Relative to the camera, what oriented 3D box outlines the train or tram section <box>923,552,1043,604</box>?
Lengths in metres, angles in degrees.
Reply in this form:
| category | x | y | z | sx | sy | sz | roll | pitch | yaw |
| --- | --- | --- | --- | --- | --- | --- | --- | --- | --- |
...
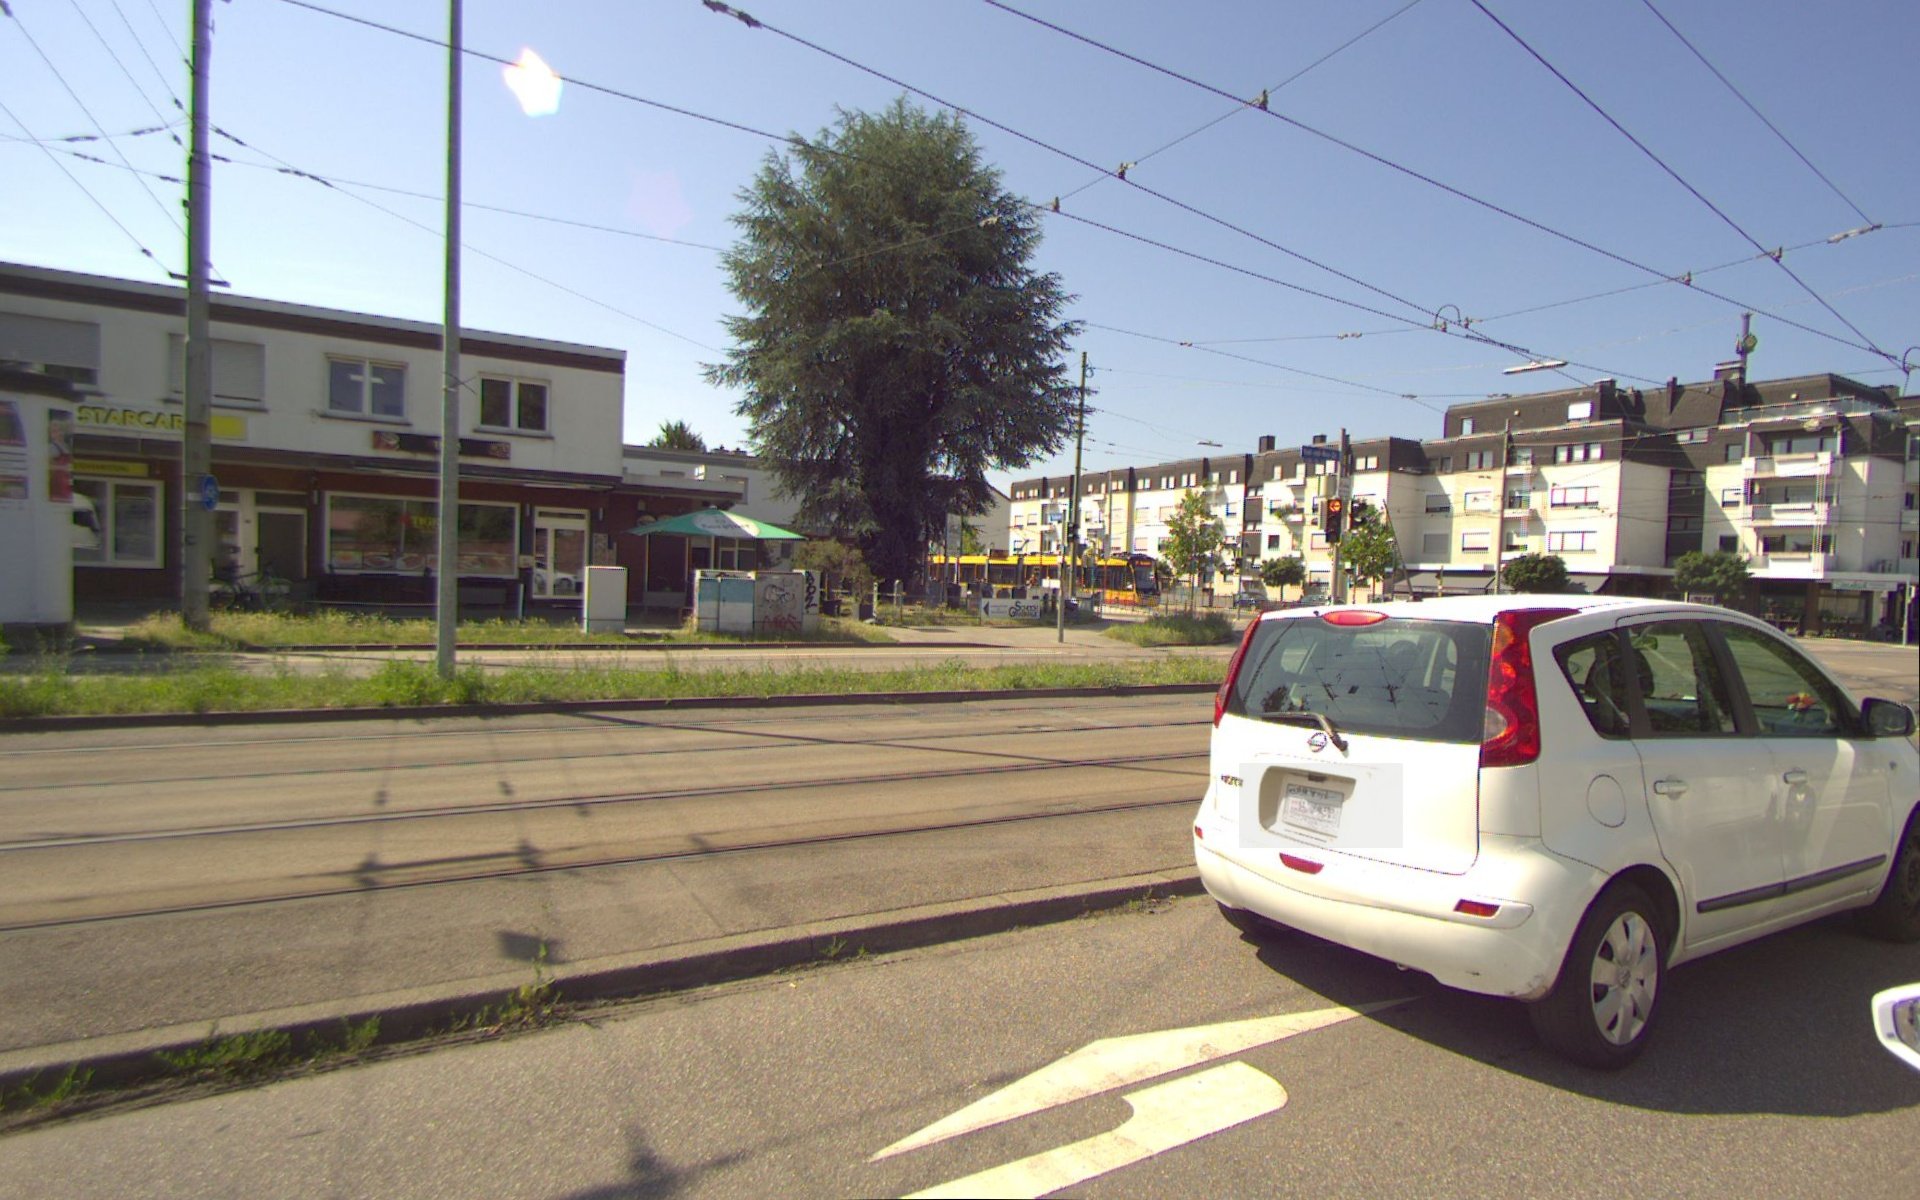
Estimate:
| category | x | y | z | sx | sy | sz | roll | pitch | yaw |
| --- | --- | --- | --- | --- | --- | --- | --- | --- | --- |
| train or tram section | 1.478 | -1.807 | 79.887 | 2.736 | 3.707 | 13.795 | 1 | 1 | -30 |

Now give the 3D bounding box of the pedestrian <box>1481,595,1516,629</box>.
| category | x | y | z | sx | sy | sz | roll | pitch | yaw |
| --- | --- | --- | --- | --- | --- | --- | --- | --- | --- |
| pedestrian | 30.941 | 0.670 | 57.729 | 1.410 | 1.861 | 1.123 | 2 | 1 | 12 |

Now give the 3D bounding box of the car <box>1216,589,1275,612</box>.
| category | x | y | z | sx | sy | sz | roll | pitch | yaw |
| --- | --- | --- | --- | --- | --- | --- | --- | --- | --- |
| car | 20.670 | 0.025 | 72.876 | 1.807 | 1.520 | 3.967 | 1 | 1 | -30 |

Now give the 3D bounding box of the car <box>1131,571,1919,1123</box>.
| category | x | y | z | sx | sy | sz | roll | pitch | yaw |
| --- | --- | --- | --- | --- | --- | --- | --- | --- | --- |
| car | 2.928 | 0.742 | 4.660 | 4.019 | 1.582 | 1.757 | 1 | 0 | -30 |

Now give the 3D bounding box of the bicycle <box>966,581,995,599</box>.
| category | x | y | z | sx | sy | sz | roll | pitch | yaw |
| --- | --- | --- | --- | --- | --- | --- | --- | --- | --- |
| bicycle | 1.220 | -0.607 | 59.741 | 0.530 | 0.959 | 2.114 | 1 | 1 | -35 |

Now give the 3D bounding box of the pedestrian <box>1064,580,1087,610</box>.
| category | x | y | z | sx | sy | sz | roll | pitch | yaw |
| --- | --- | --- | --- | --- | --- | --- | --- | --- | --- |
| pedestrian | 7.306 | -0.308 | 63.719 | 0.886 | 1.862 | 1.192 | 1 | 1 | -30 |

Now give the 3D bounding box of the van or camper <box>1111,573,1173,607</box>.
| category | x | y | z | sx | sy | sz | roll | pitch | yaw |
| --- | --- | --- | --- | --- | --- | --- | --- | --- | --- |
| van or camper | 14.954 | -0.868 | 82.856 | 2.349 | 2.660 | 4.850 | 1 | 1 | -31 |

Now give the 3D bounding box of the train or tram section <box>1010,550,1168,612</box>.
| category | x | y | z | sx | sy | sz | roll | pitch | yaw |
| --- | --- | --- | --- | --- | --- | --- | --- | --- | --- |
| train or tram section | 8.320 | -1.385 | 67.915 | 2.736 | 3.707 | 13.795 | 1 | 1 | -30 |

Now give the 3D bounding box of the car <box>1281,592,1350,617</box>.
| category | x | y | z | sx | sy | sz | roll | pitch | yaw |
| --- | --- | --- | --- | --- | --- | --- | --- | --- | --- |
| car | 23.901 | 0.290 | 67.626 | 1.807 | 1.520 | 4.151 | 1 | 1 | -30 |

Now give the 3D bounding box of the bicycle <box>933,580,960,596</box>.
| category | x | y | z | sx | sy | sz | roll | pitch | yaw |
| --- | --- | --- | --- | --- | --- | --- | --- | --- | --- |
| bicycle | -0.842 | -0.764 | 62.325 | 0.570 | 0.902 | 2.114 | 1 | 1 | -36 |

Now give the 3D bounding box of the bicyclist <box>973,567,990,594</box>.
| category | x | y | z | sx | sy | sz | roll | pitch | yaw |
| --- | --- | --- | --- | --- | --- | --- | --- | --- | --- |
| bicyclist | 1.292 | -1.132 | 59.668 | 0.627 | 1.579 | 0.757 | 2 | 0 | -40 |

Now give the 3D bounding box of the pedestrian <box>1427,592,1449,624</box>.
| category | x | y | z | sx | sy | sz | roll | pitch | yaw |
| --- | --- | --- | --- | --- | --- | --- | --- | --- | --- |
| pedestrian | 27.454 | 0.452 | 57.713 | 0.801 | 1.783 | 0.758 | 1 | 1 | -26 |

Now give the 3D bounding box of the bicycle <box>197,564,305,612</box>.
| category | x | y | z | sx | sy | sz | roll | pitch | yaw |
| --- | --- | --- | --- | --- | --- | --- | --- | --- | --- |
| bicycle | -15.676 | -0.262 | 22.269 | 1.889 | 0.996 | 0.754 | 1 | 1 | -30 |

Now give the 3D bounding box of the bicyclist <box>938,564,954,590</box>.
| category | x | y | z | sx | sy | sz | roll | pitch | yaw |
| --- | --- | --- | --- | --- | --- | --- | --- | --- | --- |
| bicyclist | -0.891 | -1.429 | 62.293 | 0.626 | 1.596 | 0.757 | 1 | 2 | -38 |
